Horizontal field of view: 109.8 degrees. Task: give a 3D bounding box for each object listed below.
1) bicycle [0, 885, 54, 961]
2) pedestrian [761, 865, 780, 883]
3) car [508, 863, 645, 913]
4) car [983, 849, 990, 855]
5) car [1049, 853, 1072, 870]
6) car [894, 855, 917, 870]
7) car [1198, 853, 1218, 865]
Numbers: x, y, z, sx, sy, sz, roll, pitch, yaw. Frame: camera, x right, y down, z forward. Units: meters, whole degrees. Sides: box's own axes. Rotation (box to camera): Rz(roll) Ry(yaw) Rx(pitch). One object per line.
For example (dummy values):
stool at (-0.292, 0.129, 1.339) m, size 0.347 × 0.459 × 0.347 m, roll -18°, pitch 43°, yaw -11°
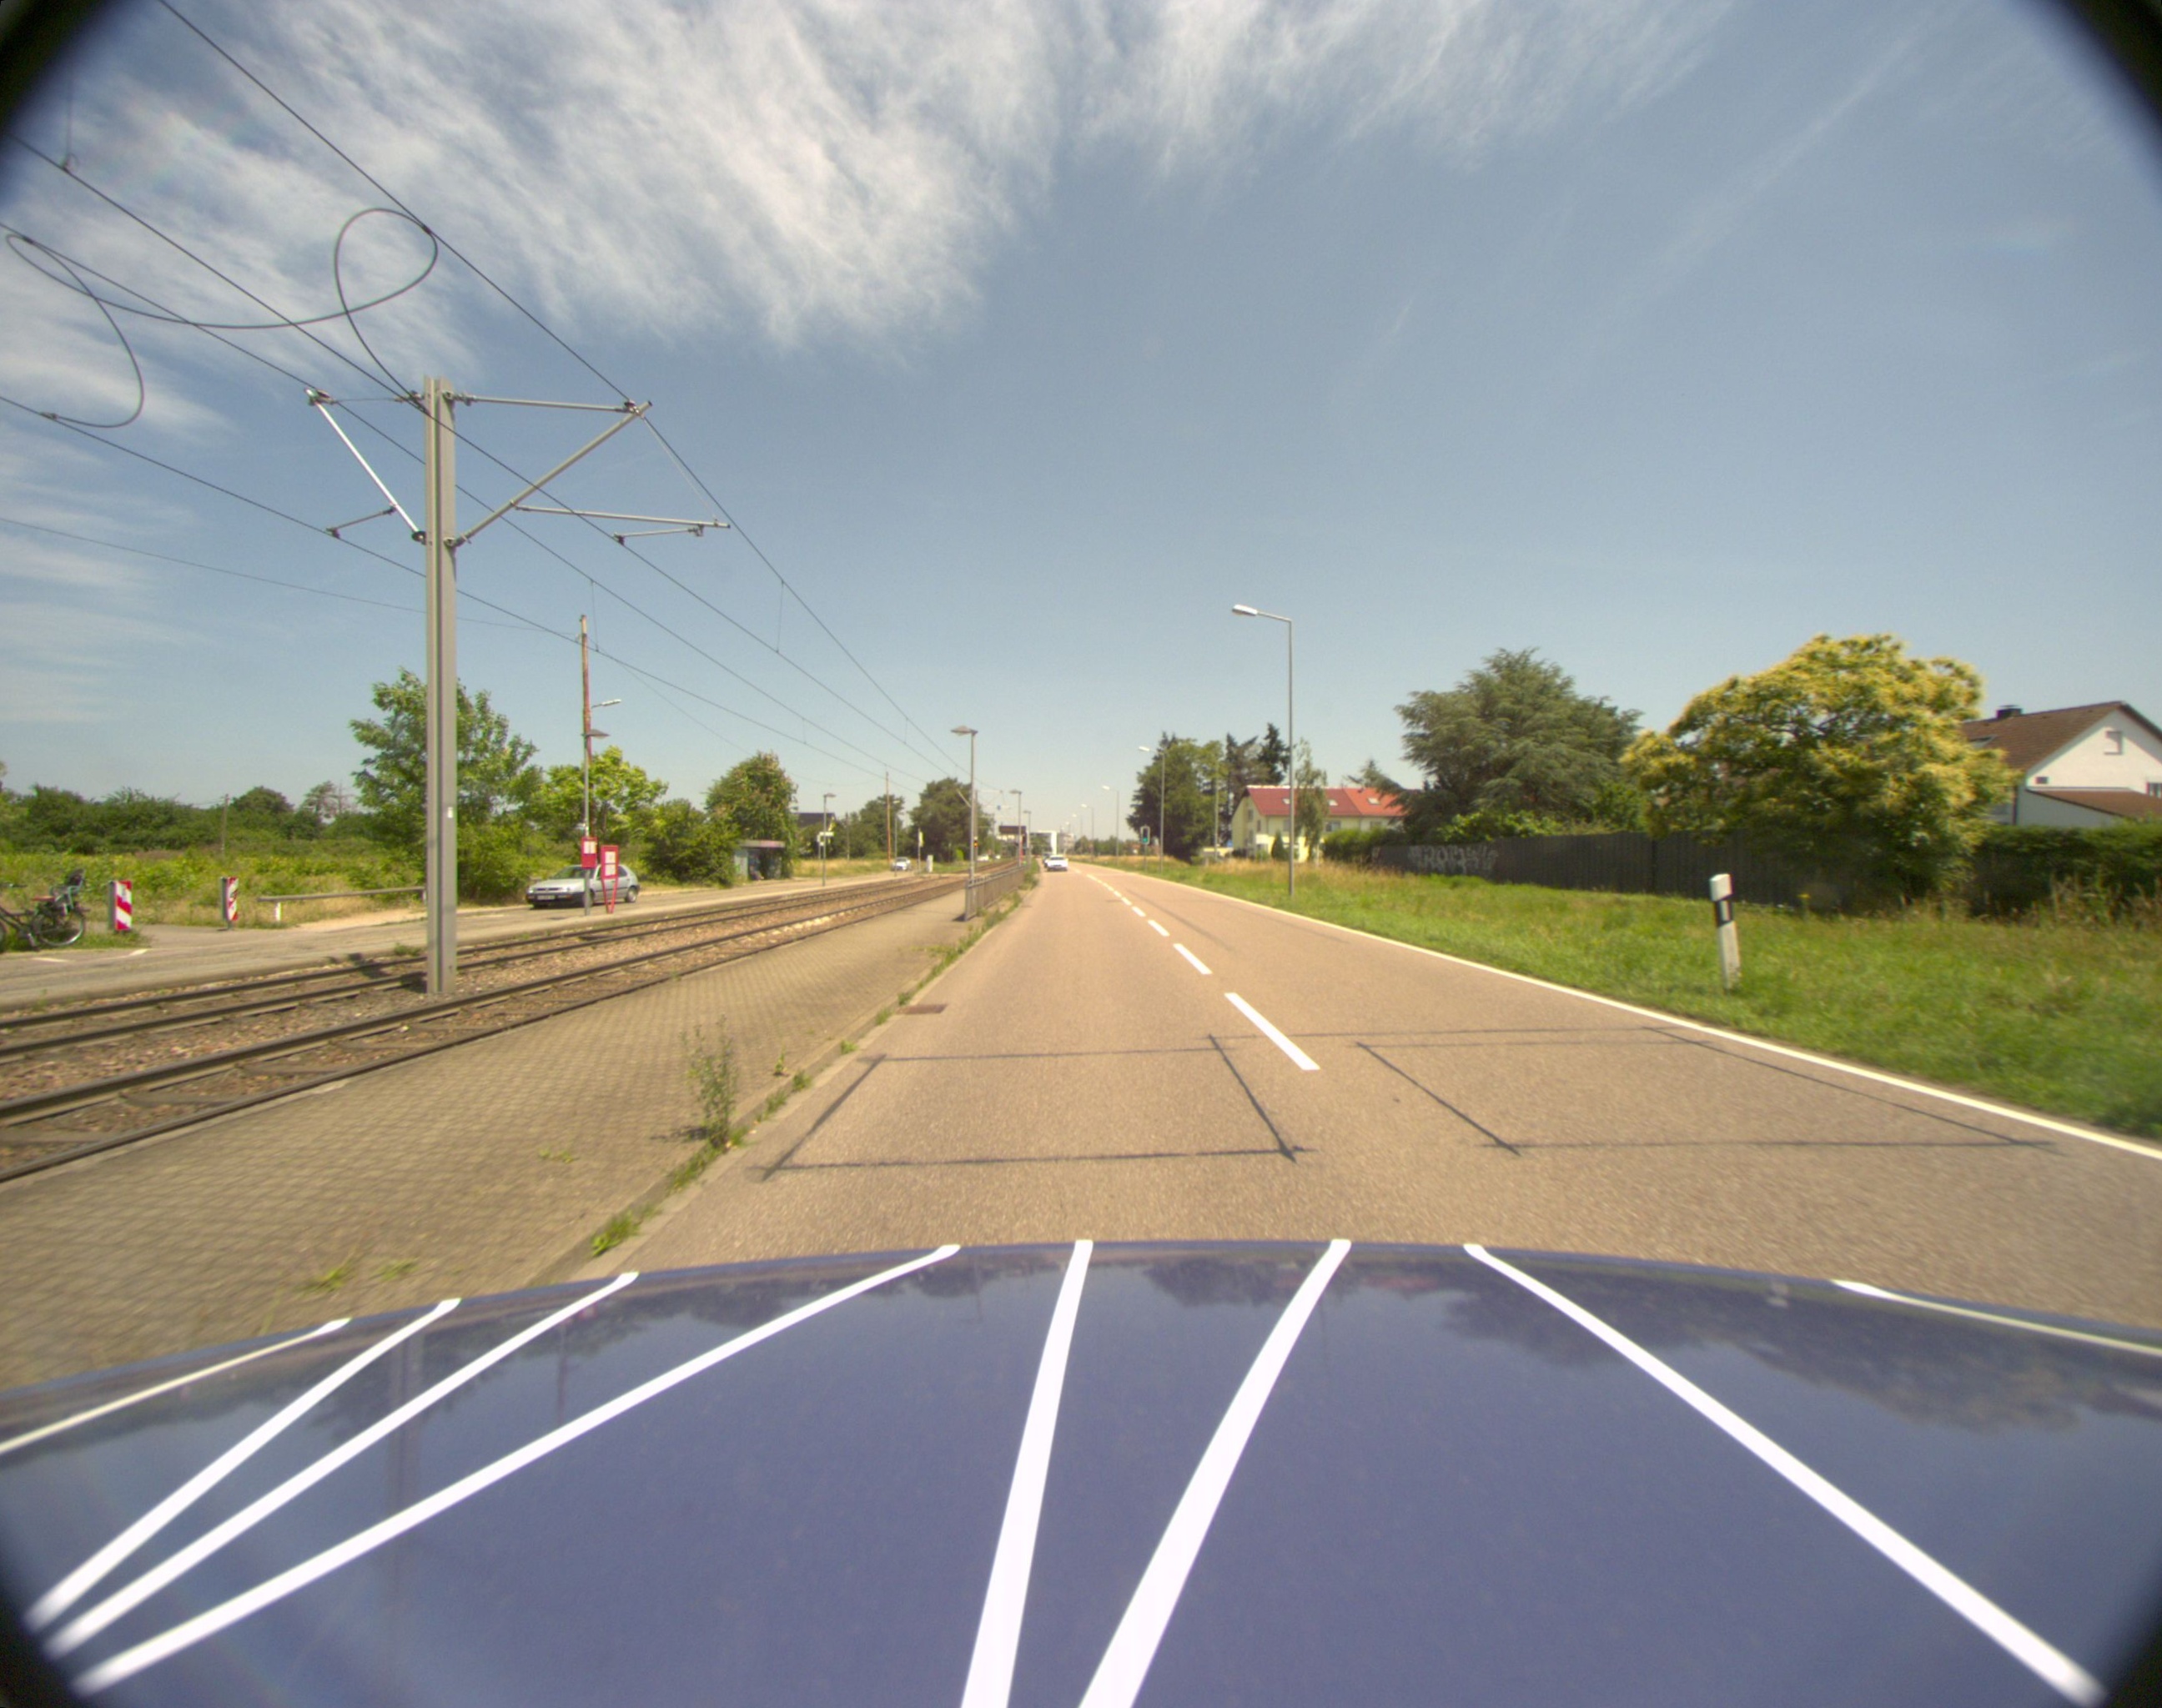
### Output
bicycle at (-19.537, 1.229, 13.696) m, size 0.705 × 1.261 × 1.676 m, roll 0°, pitch 1°, yaw -35°
pedestrian at (-18.984, 1.200, 46.531) m, size 0.810 × 1.080 × 0.719 m, roll -1°, pitch 1°, yaw 7°
car at (-16.782, 1.082, 25.557) m, size 1.944 × 1.414 × 3.999 m, roll -1°, pitch 1°, yaw -1°
car at (-26.649, -0.551, 214.349) m, size 1.863 × 1.816 × 4.585 m, roll -1°, pitch 1°, yaw -3°
car at (-1.857, 0.671, 69.415) m, size 1.856 × 1.447 × 3.706 m, roll -1°, pitch 1°, yaw 2°
car at (-18.702, 0.928, 81.116) m, size 1.717 × 1.480 × 4.000 m, roll -1°, pitch 1°, yaw -2°
car at (16.770, 0.632, 100.195) m, size 1.711 × 1.483 × 4.184 m, roll -1°, pitch 1°, yaw -4°
